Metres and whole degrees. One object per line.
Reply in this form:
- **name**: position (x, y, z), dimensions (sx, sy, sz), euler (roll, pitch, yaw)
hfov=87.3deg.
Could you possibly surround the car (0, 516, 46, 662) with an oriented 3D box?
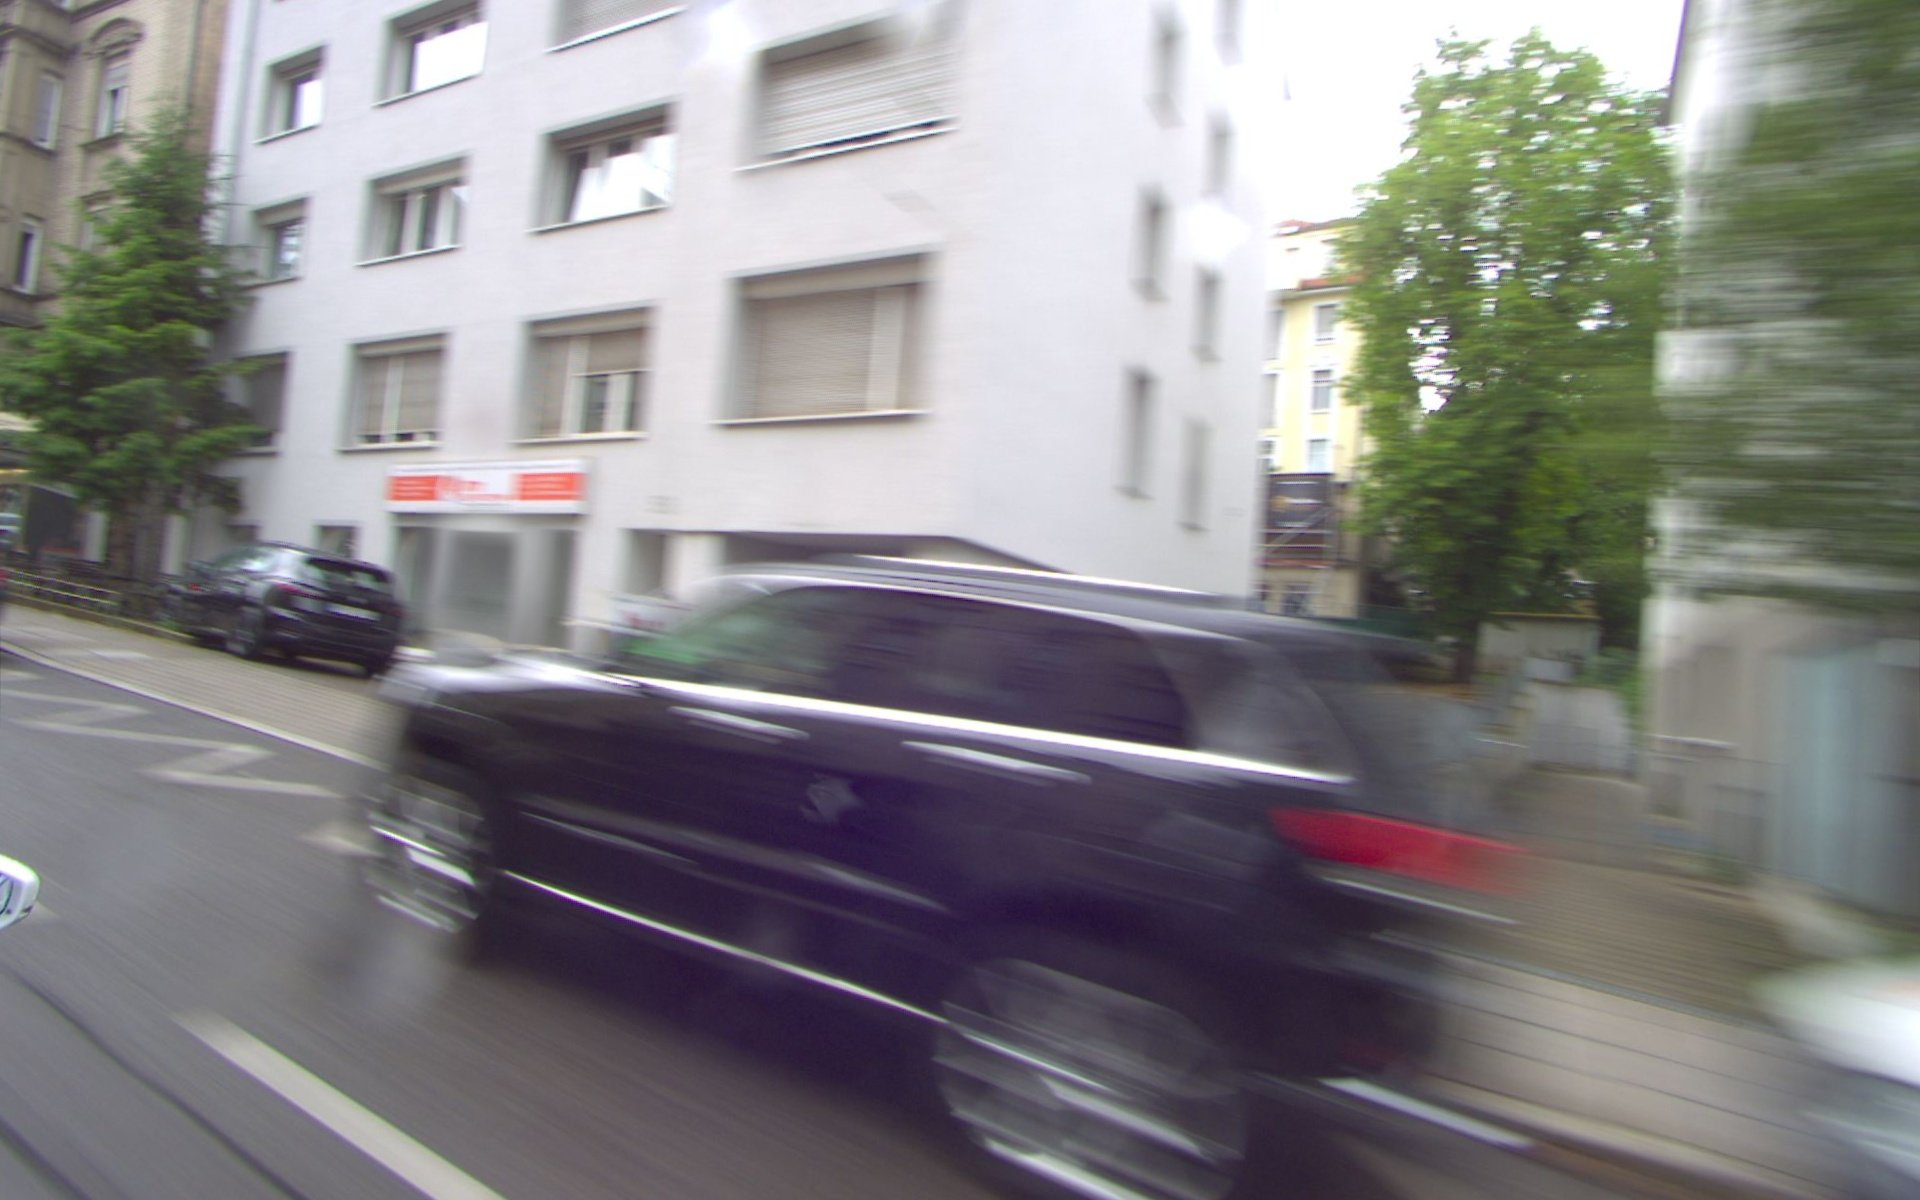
- **car**: position (-11.958, -0.419, 10.725), dimensions (4.532, 1.453, 1.800), euler (7, -3, 29)

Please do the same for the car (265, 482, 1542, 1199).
- **car**: position (-0.443, 0.707, 4.202), dimensions (4.738, 1.814, 1.949), euler (6, -3, 29)

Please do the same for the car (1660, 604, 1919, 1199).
- **car**: position (4.016, 1.222, 1.633), dimensions (4.395, 1.815, 1.783), euler (7, -2, 29)

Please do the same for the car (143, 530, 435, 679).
- **car**: position (-9.356, 0.026, 13.941), dimensions (4.087, 1.441, 1.817), euler (6, -5, 34)
